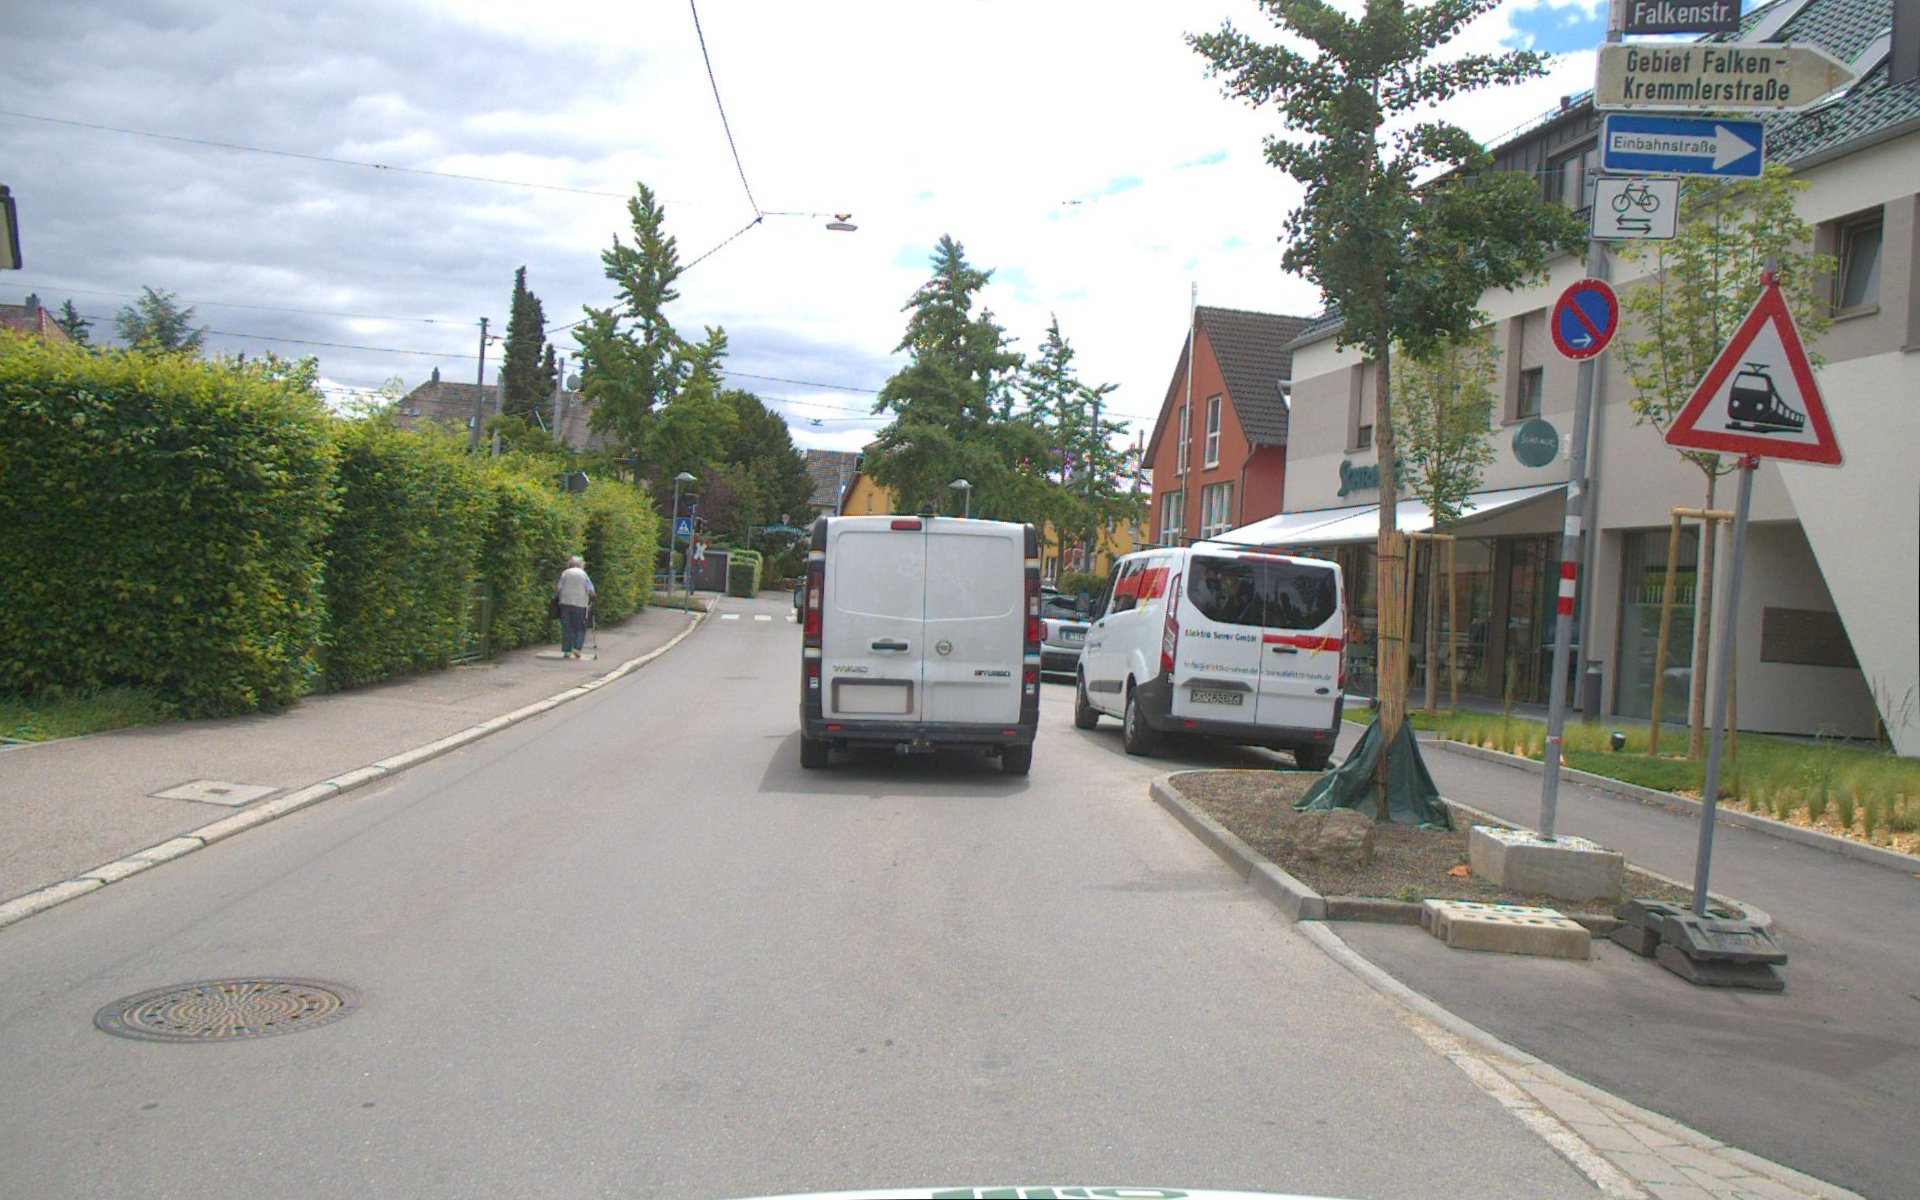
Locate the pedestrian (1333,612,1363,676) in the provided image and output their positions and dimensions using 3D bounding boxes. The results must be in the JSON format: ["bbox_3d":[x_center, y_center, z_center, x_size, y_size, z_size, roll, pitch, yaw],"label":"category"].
[{"bbox_3d":[7.536,0.849,32.138,0.413,1.202,0.323,3,-1,-7],"label":"pedestrian"}]

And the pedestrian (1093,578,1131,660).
[{"bbox_3d":[3.158,0.392,34.465,0.579,1.634,0.529,5,-1,-3],"label":"pedestrian"}]

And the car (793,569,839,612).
[{"bbox_3d":[-6.459,-0.426,74.402,1.954,1.813,3.996,2,0,-5],"label":"car"}]

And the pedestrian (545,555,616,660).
[{"bbox_3d":[-5.806,0.114,25.308,0.865,1.510,0.452,6,-1,-25],"label":"pedestrian"}]

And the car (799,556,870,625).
[{"bbox_3d":[-3.759,-0.272,49.511,1.955,1.880,3.996,3,0,-5],"label":"car"}]

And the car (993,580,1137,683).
[{"bbox_3d":[1.755,0.515,28.817,1.709,1.520,3.649,6,0,-7],"label":"car"}]

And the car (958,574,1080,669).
[{"bbox_3d":[1.115,0.385,33.516,1.671,1.642,4.252,6,0,-7],"label":"car"}]

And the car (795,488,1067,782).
[{"bbox_3d":[-0.357,0.265,14.169,1.878,2.037,4.434,3,0,-4],"label":"car"}]

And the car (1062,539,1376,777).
[{"bbox_3d":[2.473,0.518,17.174,1.921,1.948,4.896,5,0,-5],"label":"car"}]

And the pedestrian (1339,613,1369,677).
[{"bbox_3d":[7.581,0.862,31.798,0.413,1.186,0.323,3,-1,-7],"label":"pedestrian"}]
